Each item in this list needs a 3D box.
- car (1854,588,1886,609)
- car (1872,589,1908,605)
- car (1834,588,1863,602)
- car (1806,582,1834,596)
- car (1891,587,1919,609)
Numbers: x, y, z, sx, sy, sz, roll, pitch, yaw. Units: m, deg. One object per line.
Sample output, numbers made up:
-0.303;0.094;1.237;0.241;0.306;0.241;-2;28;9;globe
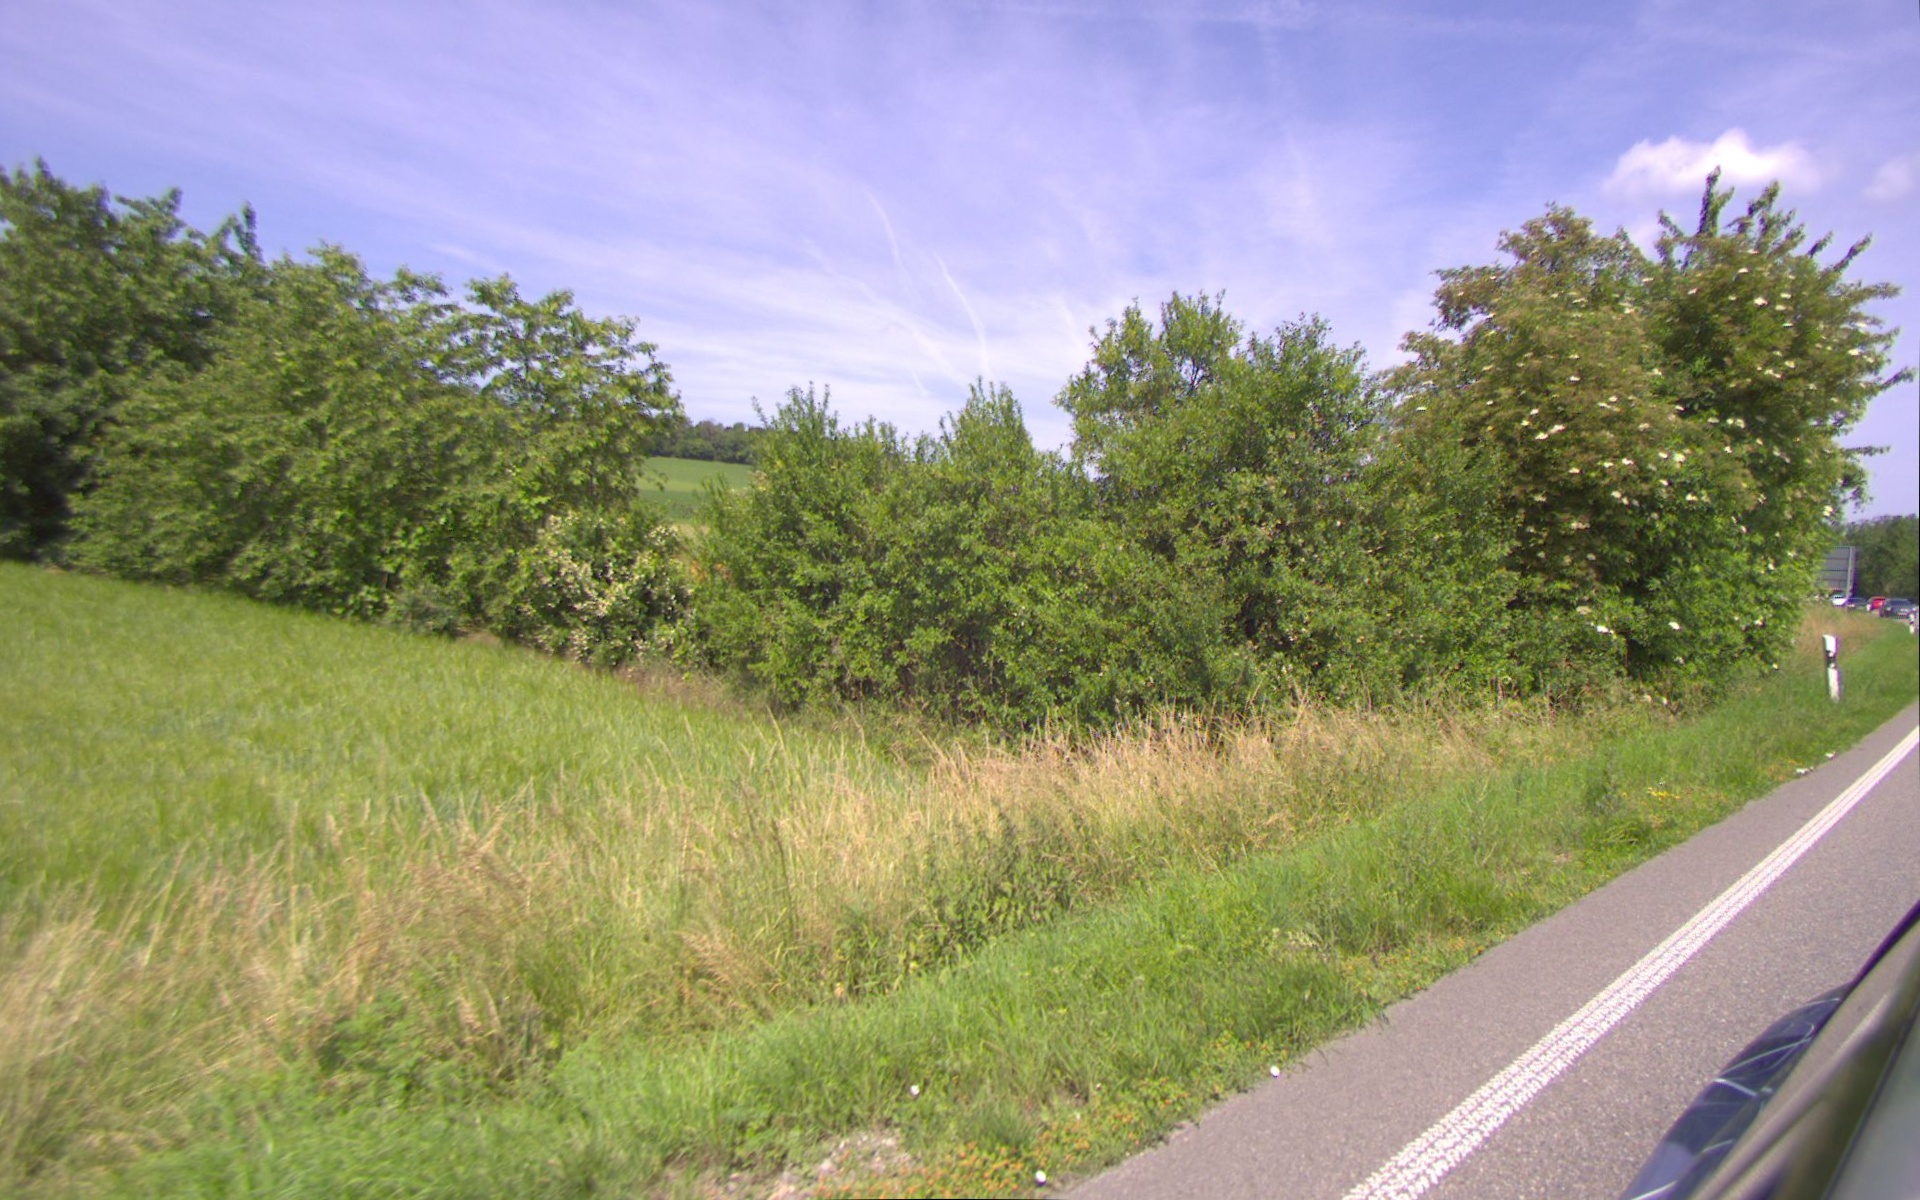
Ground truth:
85.834;-0.162;95.463;1.657;1.670;3.950;5;4;35;car
97.702;-0.313;106.332;1.811;1.414;4.140;4;4;29;car
105.626;-0.612;120.347;1.742;1.431;3.735;4;4;29;car
114.038;-1.468;134.227;1.823;1.636;4.321;4;4;28;car
72.837;-0.168;77.468;1.816;1.537;3.948;5;4;36;car
